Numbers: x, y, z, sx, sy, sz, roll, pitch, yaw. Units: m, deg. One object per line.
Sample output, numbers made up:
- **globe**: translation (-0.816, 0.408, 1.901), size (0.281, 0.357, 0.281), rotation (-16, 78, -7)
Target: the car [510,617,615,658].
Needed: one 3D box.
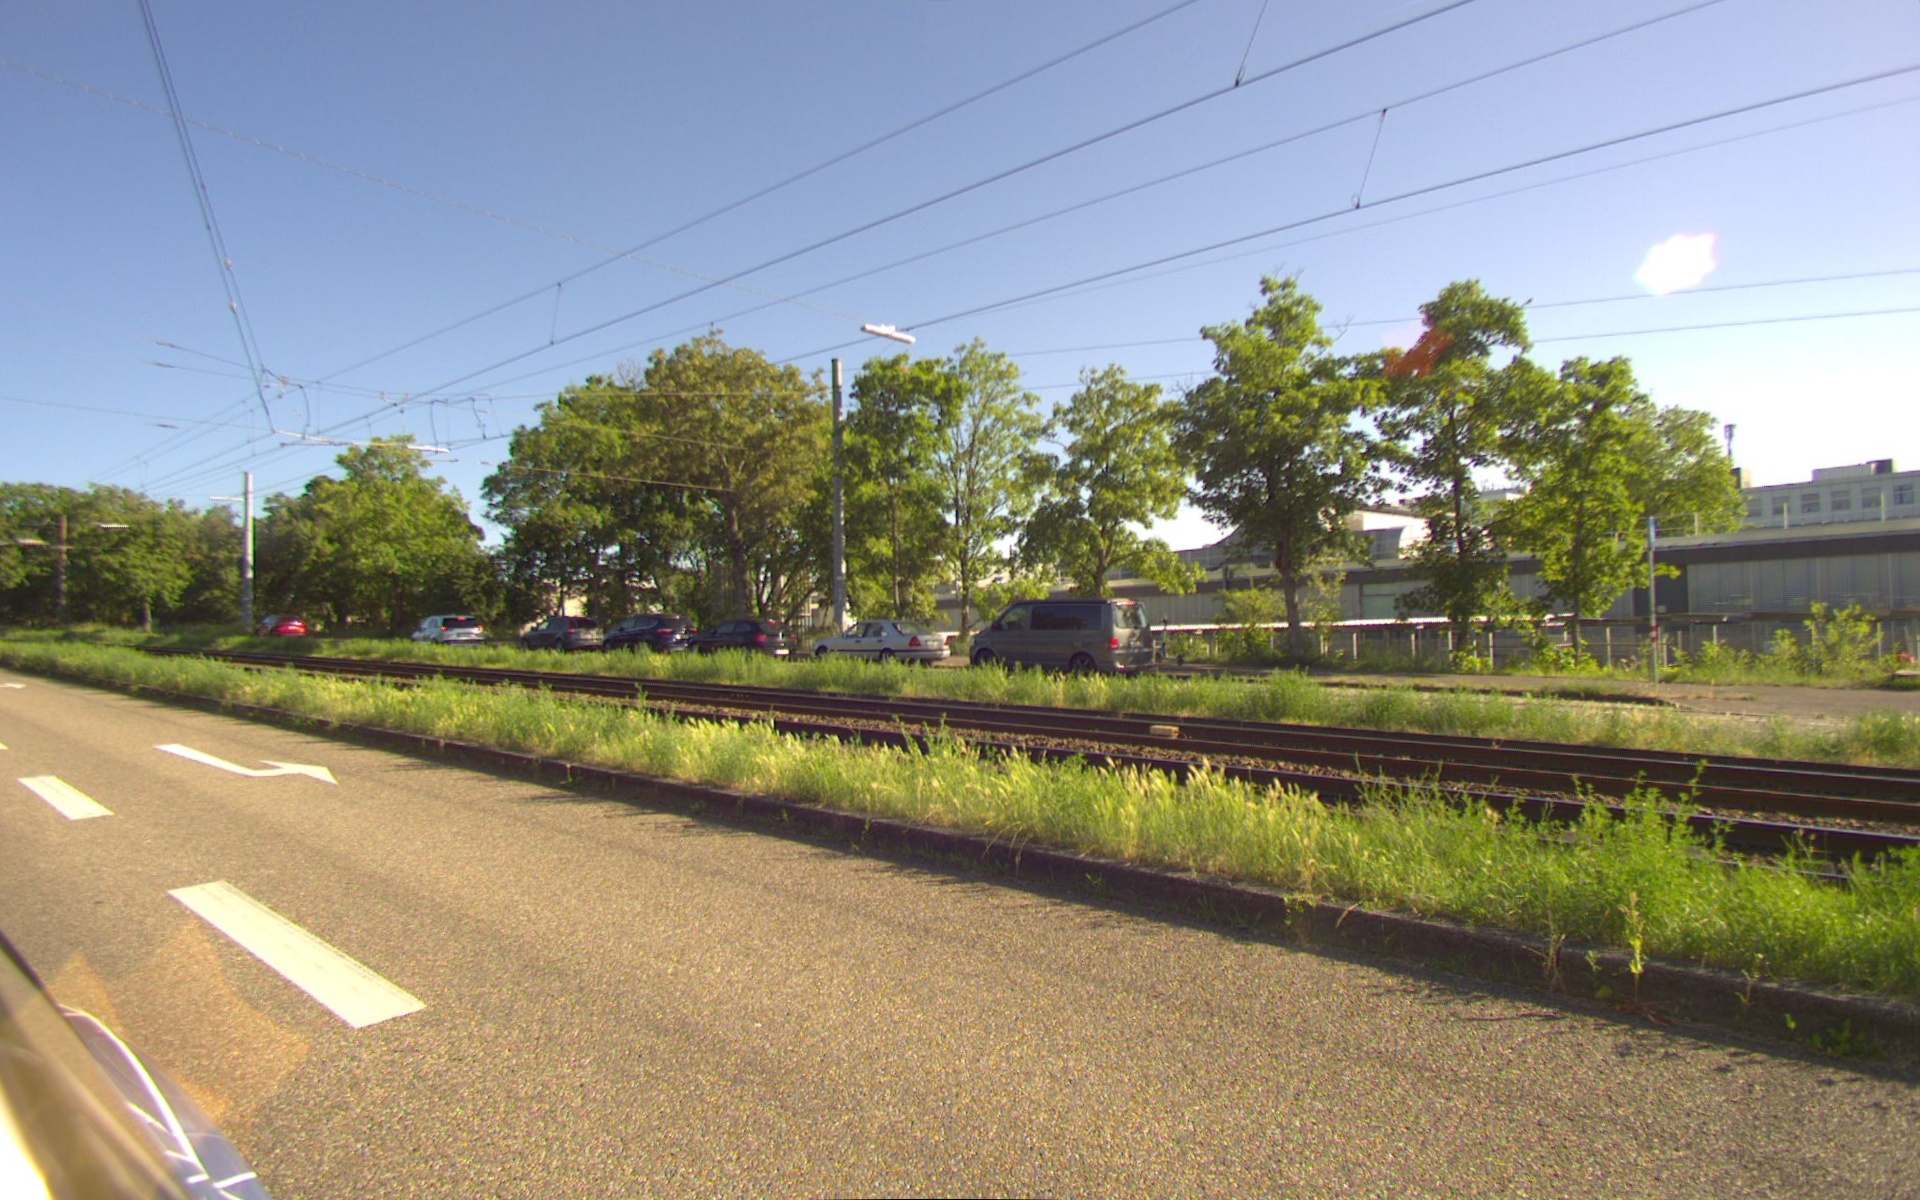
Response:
- **car**: translation (-16.254, 1.520, 41.263), size (4.557, 1.575, 2.103), rotation (-2, -1, 41)

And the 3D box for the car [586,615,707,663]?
- **car**: translation (-11.424, 1.389, 36.787), size (4.614, 1.599, 2.102), rotation (-2, -1, 41)

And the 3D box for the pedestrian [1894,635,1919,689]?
- **pedestrian**: translation (23.544, 1.537, 25.018), size (0.435, 1.310, 0.441), rotation (-1, -2, -1)

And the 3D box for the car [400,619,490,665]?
- **car**: translation (-19.395, 1.553, 38.049), size (4.159, 1.569, 1.834), rotation (-2, -1, 45)

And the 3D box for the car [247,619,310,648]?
- **car**: translation (-42.447, 2.079, 62.992), size (4.797, 1.746, 2.290), rotation (-2, -1, 43)

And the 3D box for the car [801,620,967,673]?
- **car**: translation (-2.253, 1.310, 29.227), size (4.612, 1.391, 2.103), rotation (-2, -1, 40)

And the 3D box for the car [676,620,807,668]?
- **car**: translation (-7.230, 1.423, 33.234), size (4.486, 1.437, 1.935), rotation (-2, -1, 42)

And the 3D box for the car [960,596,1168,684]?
- **car**: translation (2.457, 0.948, 24.797), size (4.684, 1.949, 2.178), rotation (-2, -1, 42)
